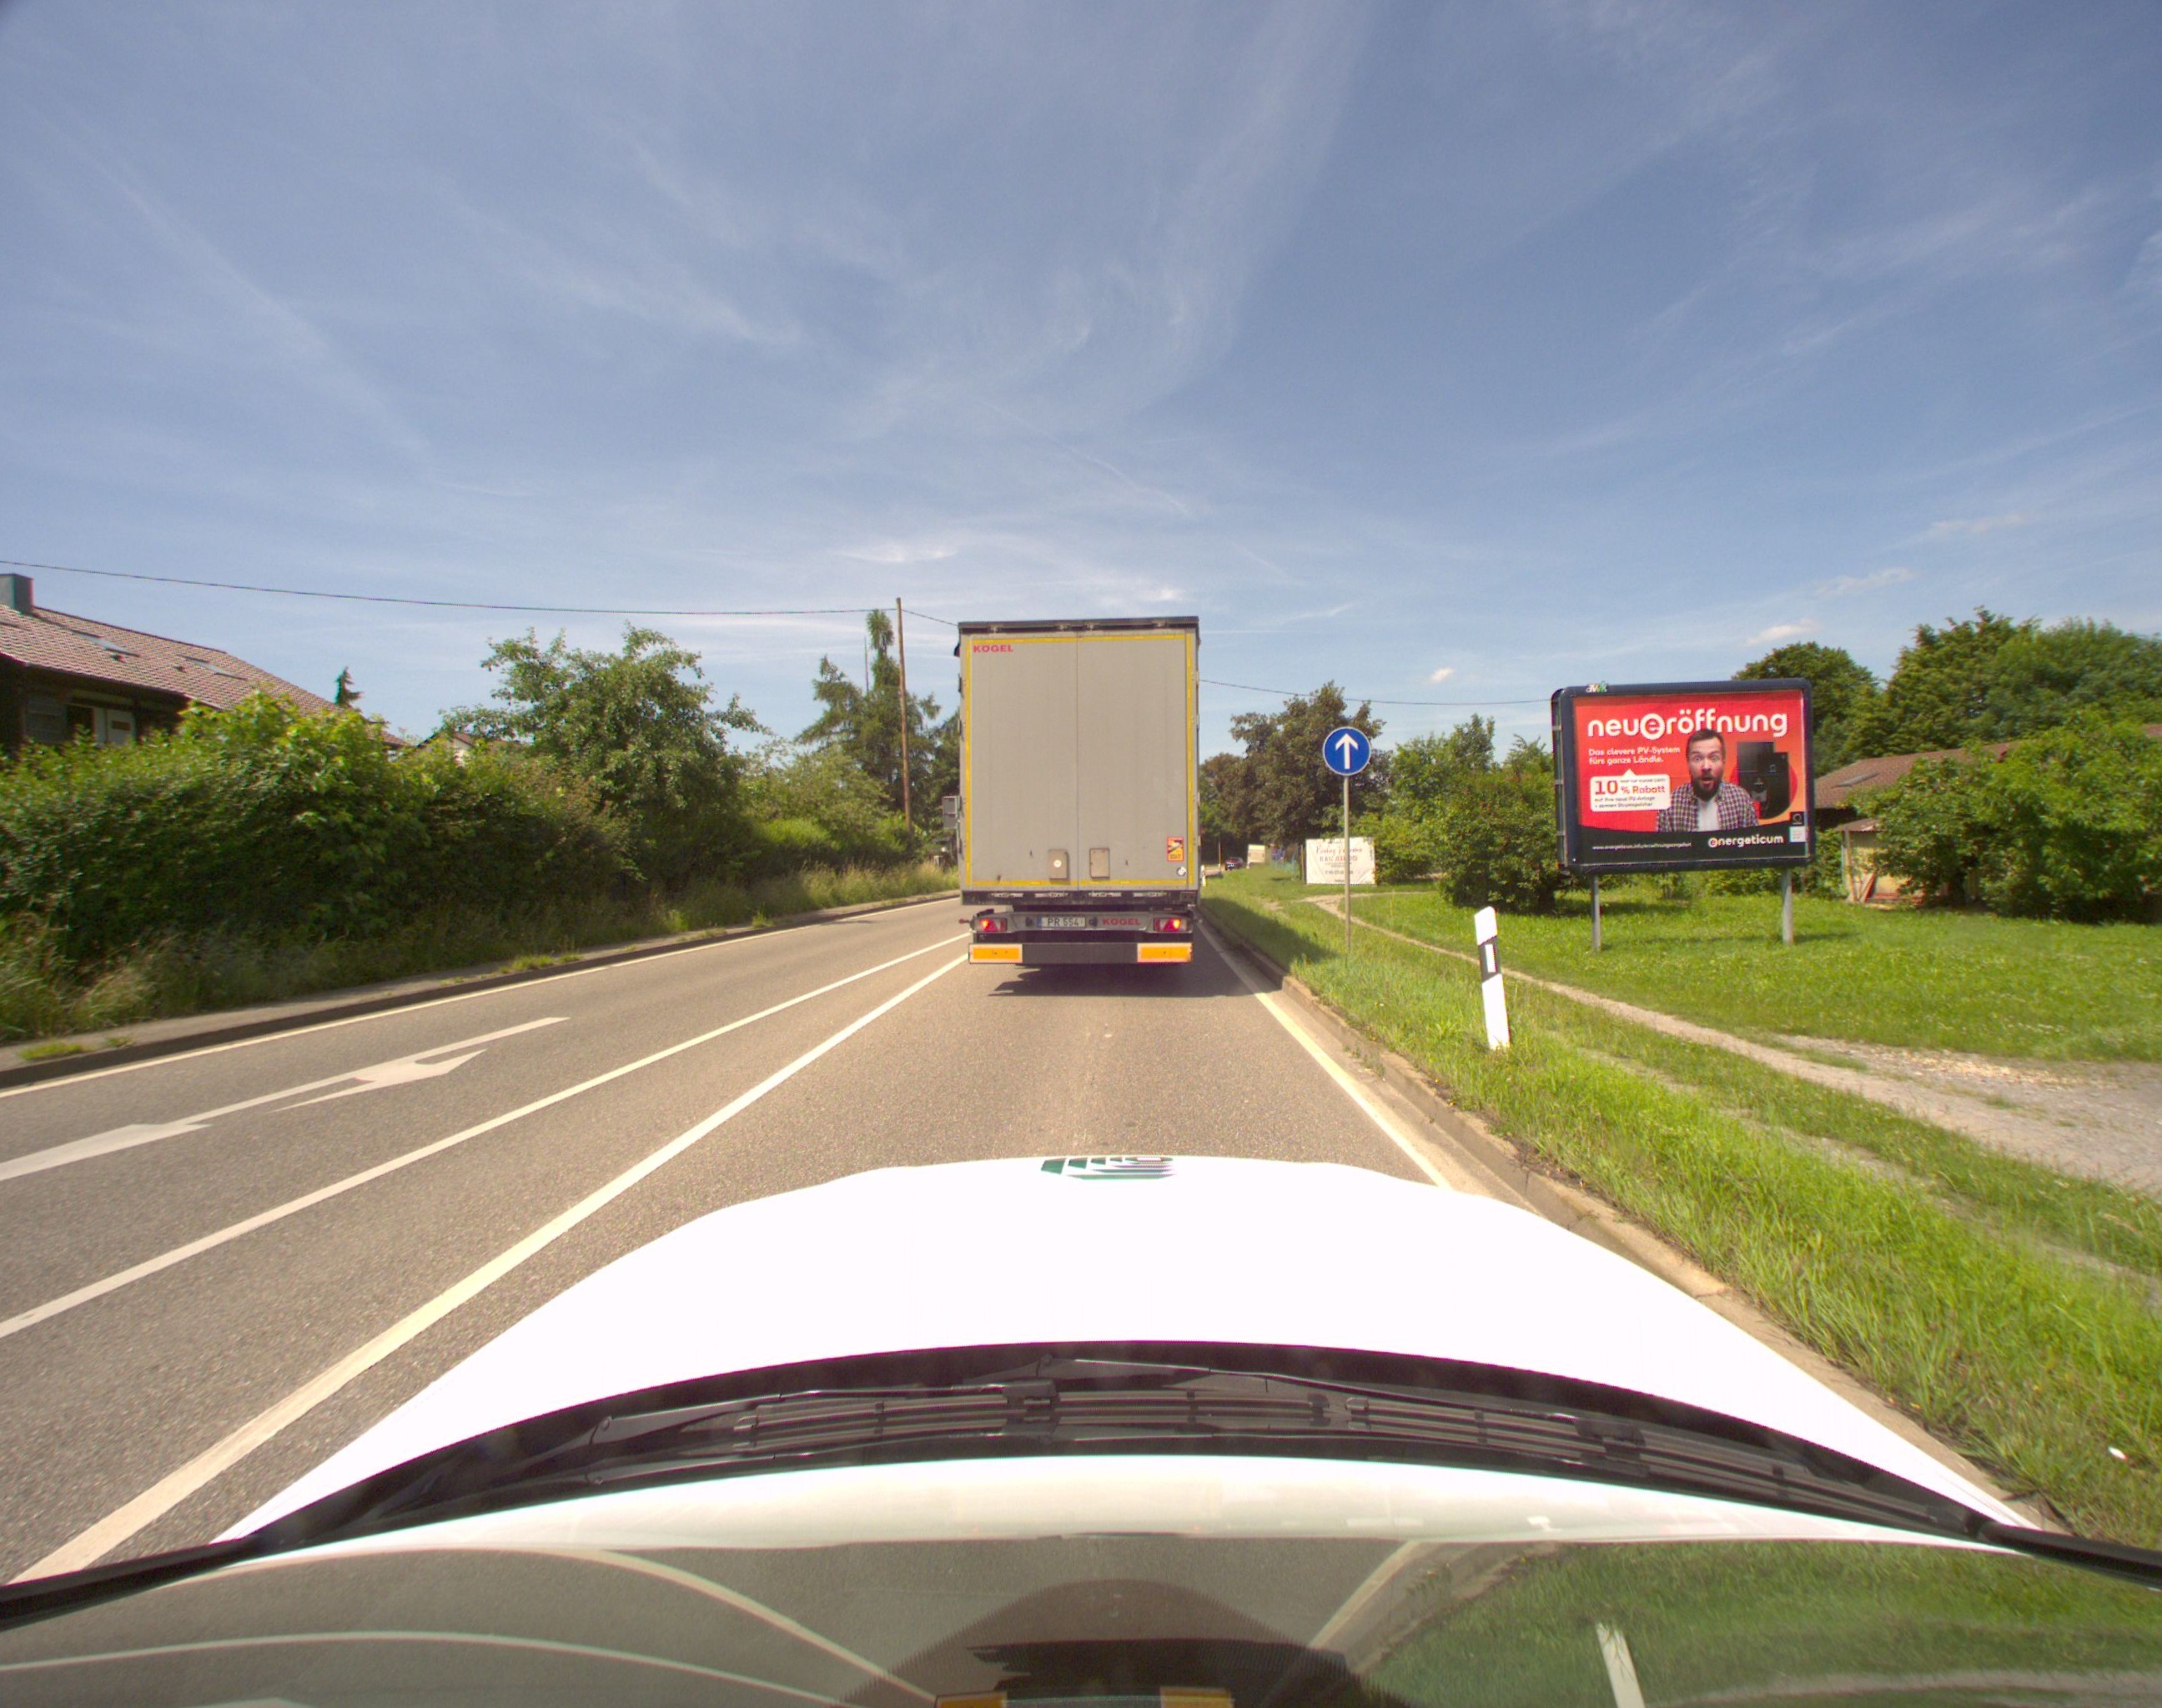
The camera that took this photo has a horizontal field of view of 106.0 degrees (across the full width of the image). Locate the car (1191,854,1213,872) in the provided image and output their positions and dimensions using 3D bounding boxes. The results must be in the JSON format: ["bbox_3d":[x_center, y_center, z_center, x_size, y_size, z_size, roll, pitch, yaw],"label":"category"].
[{"bbox_3d":[13.010,0.915,87.178,1.980,1.837,4.015,-1,0,13],"label":"car"}]

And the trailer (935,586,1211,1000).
[{"bbox_3d":[0.388,-0.654,14.441,2.774,4.205,12.126,-1,0,5],"label":"trailer"}]

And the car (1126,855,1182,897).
[{"bbox_3d":[3.026,0.836,33.089,1.982,1.530,4.010,-1,0,9],"label":"car"}]

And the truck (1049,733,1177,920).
[{"bbox_3d":[1.062,-0.633,21.460,2.731,4.165,6.156,-1,0,8],"label":"truck"}]

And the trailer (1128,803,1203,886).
[{"bbox_3d":[5.547,-0.581,50.930,3.868,4.520,12.746,-1,0,9],"label":"trailer"}]

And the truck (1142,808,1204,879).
[{"bbox_3d":[6.619,-0.684,57.592,3.913,4.574,7.171,-1,0,9],"label":"truck"}]

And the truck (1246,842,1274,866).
[{"bbox_3d":[22.596,-0.014,102.693,2.399,2.838,5.442,-1,0,23],"label":"truck"}]

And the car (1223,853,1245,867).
[{"bbox_3d":[17.196,0.678,91.457,1.826,1.486,4.019,-1,0,18],"label":"car"}]

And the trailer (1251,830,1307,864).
[{"bbox_3d":[28.900,-1.053,118.129,5.133,4.628,15.984,-1,0,23],"label":"trailer"}]
